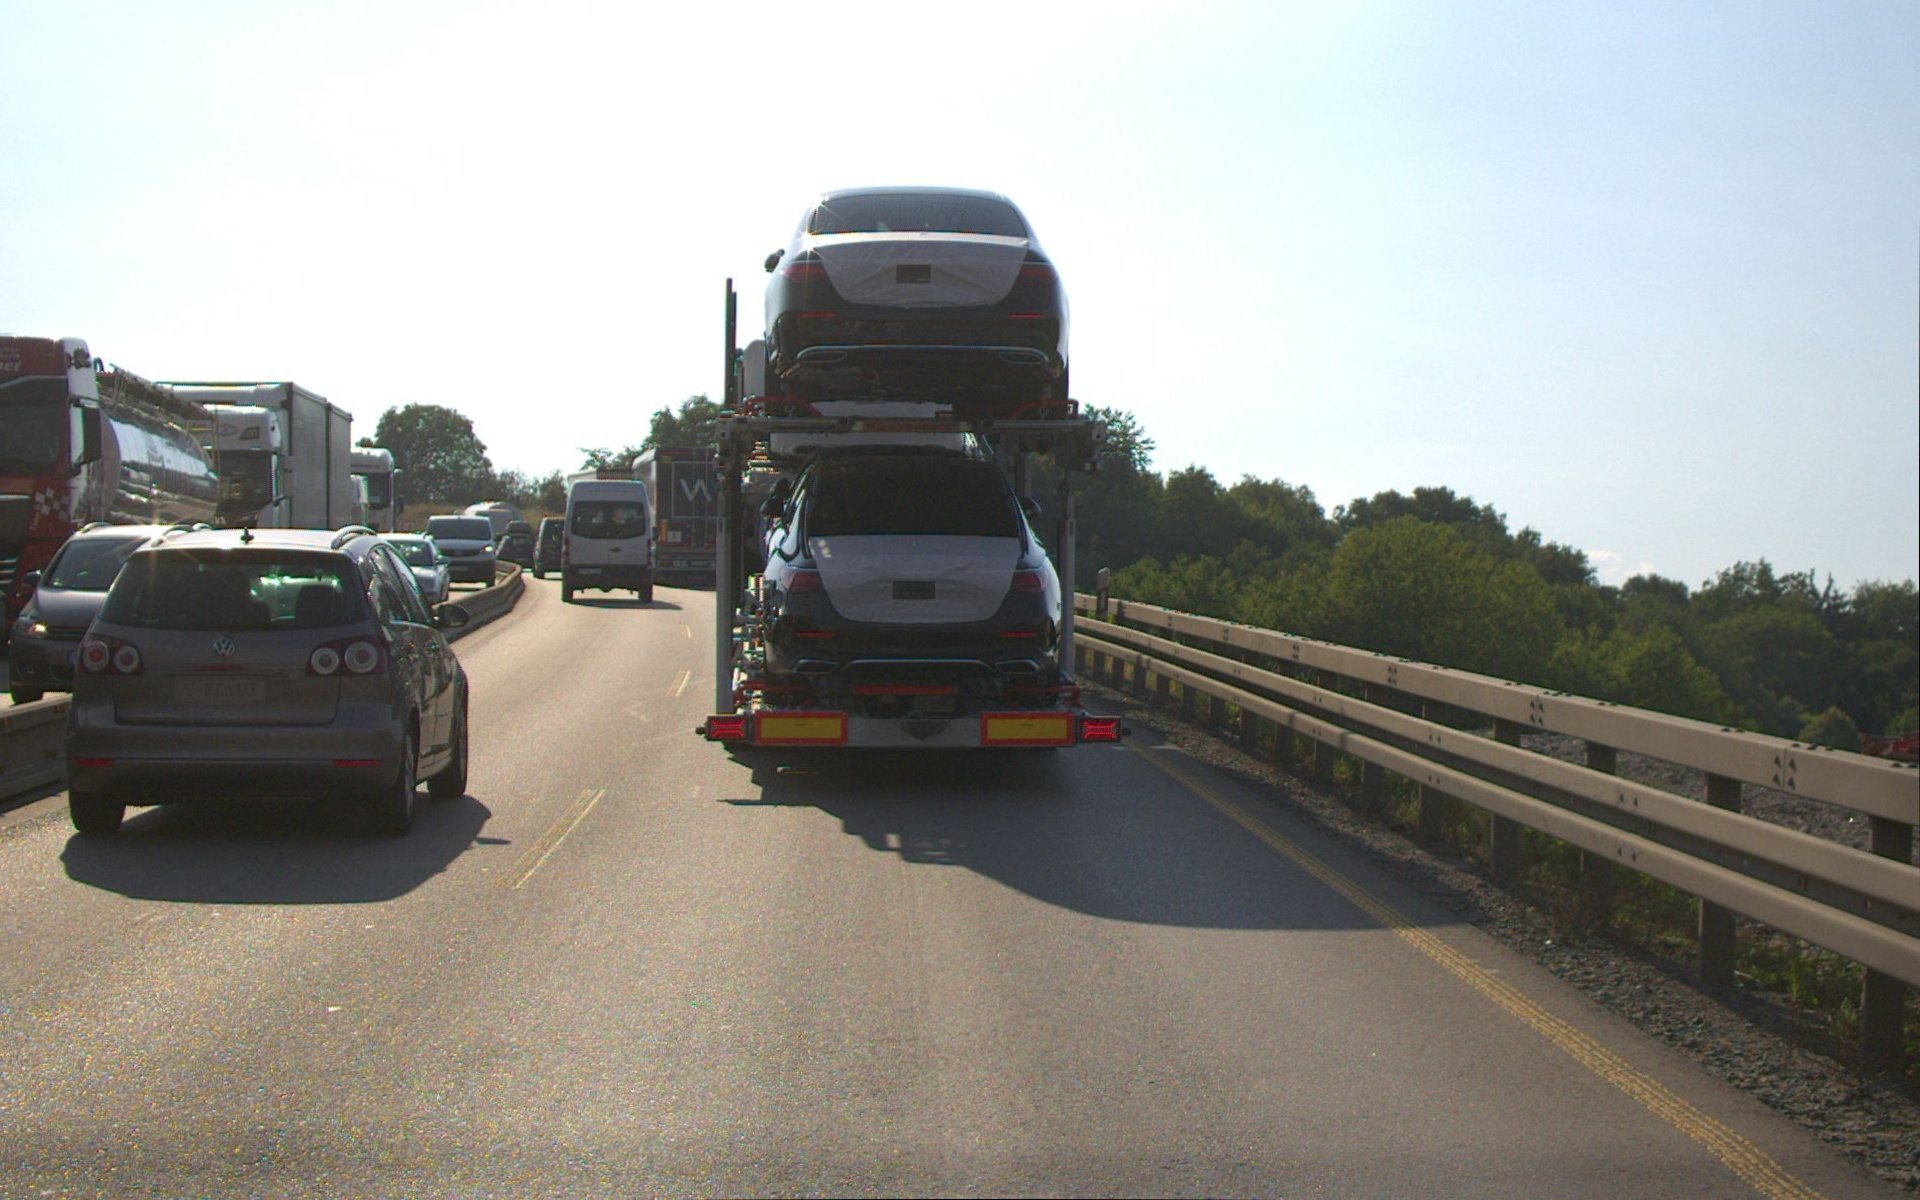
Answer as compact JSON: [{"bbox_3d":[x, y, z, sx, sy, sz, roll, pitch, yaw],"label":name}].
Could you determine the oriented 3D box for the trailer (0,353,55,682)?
[{"bbox_3d":[-10.777,-0.802,31.469,2.306,3.350,12.054,1,1,-3],"label":"trailer"}]

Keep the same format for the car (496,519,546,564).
[{"bbox_3d":[-17.585,-2.353,137.800,1.826,1.766,4.001,1,1,-5],"label":"car"}]

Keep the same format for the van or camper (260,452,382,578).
[{"bbox_3d":[-15.396,-2.012,83.252,2.407,2.881,7.620,1,1,-7],"label":"van or camper"}]

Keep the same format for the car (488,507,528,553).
[{"bbox_3d":[-20.235,-3.139,153.831,1.629,2.007,4.001,1,1,-9],"label":"car"}]

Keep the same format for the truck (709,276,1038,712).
[{"bbox_3d":[-1.043,-0.998,35.044,2.837,3.779,9.988,1,1,-3],"label":"truck"}]

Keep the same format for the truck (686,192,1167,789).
[{"bbox_3d":[-0.501,-0.717,25.559,2.799,3.485,10.607,1,1,-3],"label":"truck"}]

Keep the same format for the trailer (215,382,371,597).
[{"bbox_3d":[-13.826,-2.231,71.766,2.442,4.174,8.546,1,1,-6],"label":"trailer"}]

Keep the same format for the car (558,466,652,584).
[{"bbox_3d":[-7.805,-1.643,75.905,1.920,2.484,5.410,1,1,-5],"label":"car"}]

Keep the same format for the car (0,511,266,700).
[{"bbox_3d":[-7.393,0.021,31.008,1.750,1.581,3.943,1,1,-5],"label":"car"}]

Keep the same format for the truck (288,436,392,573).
[{"bbox_3d":[-17.607,-2.666,97.966,2.600,3.741,6.518,1,1,-8],"label":"truck"}]

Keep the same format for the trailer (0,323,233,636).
[{"bbox_3d":[-12.024,-1.550,47.670,2.306,3.777,12.055,1,1,-5],"label":"trailer"}]

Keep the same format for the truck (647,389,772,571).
[{"bbox_3d":[-7.661,-3.525,103.912,3.285,5.219,9.938,1,1,-7],"label":"truck"}]

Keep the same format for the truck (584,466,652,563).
[{"bbox_3d":[-13.347,-3.290,134.534,2.530,3.635,8.907,1,1,-5],"label":"truck"}]

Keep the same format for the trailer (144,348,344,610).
[{"bbox_3d":[-12.822,-2.082,62.307,2.475,4.313,10.513,1,1,-6],"label":"trailer"}]

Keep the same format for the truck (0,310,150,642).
[{"bbox_3d":[-11.548,-1.465,41.969,2.432,3.771,5.618,1,1,-5],"label":"truck"}]

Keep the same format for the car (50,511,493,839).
[{"bbox_3d":[-3.646,0.340,18.847,1.691,1.590,4.000,1,1,-1],"label":"car"}]

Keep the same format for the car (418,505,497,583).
[{"bbox_3d":[-12.907,-1.442,88.542,1.816,1.919,4.837,1,1,-6],"label":"car"}]

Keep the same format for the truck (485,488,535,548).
[{"bbox_3d":[-24.403,-4.439,186.576,2.590,3.159,6.678,1,1,-7],"label":"truck"}]

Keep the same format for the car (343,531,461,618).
[{"bbox_3d":[-9.523,-0.458,58.950,1.627,1.421,4.658,1,1,-5],"label":"car"}]
